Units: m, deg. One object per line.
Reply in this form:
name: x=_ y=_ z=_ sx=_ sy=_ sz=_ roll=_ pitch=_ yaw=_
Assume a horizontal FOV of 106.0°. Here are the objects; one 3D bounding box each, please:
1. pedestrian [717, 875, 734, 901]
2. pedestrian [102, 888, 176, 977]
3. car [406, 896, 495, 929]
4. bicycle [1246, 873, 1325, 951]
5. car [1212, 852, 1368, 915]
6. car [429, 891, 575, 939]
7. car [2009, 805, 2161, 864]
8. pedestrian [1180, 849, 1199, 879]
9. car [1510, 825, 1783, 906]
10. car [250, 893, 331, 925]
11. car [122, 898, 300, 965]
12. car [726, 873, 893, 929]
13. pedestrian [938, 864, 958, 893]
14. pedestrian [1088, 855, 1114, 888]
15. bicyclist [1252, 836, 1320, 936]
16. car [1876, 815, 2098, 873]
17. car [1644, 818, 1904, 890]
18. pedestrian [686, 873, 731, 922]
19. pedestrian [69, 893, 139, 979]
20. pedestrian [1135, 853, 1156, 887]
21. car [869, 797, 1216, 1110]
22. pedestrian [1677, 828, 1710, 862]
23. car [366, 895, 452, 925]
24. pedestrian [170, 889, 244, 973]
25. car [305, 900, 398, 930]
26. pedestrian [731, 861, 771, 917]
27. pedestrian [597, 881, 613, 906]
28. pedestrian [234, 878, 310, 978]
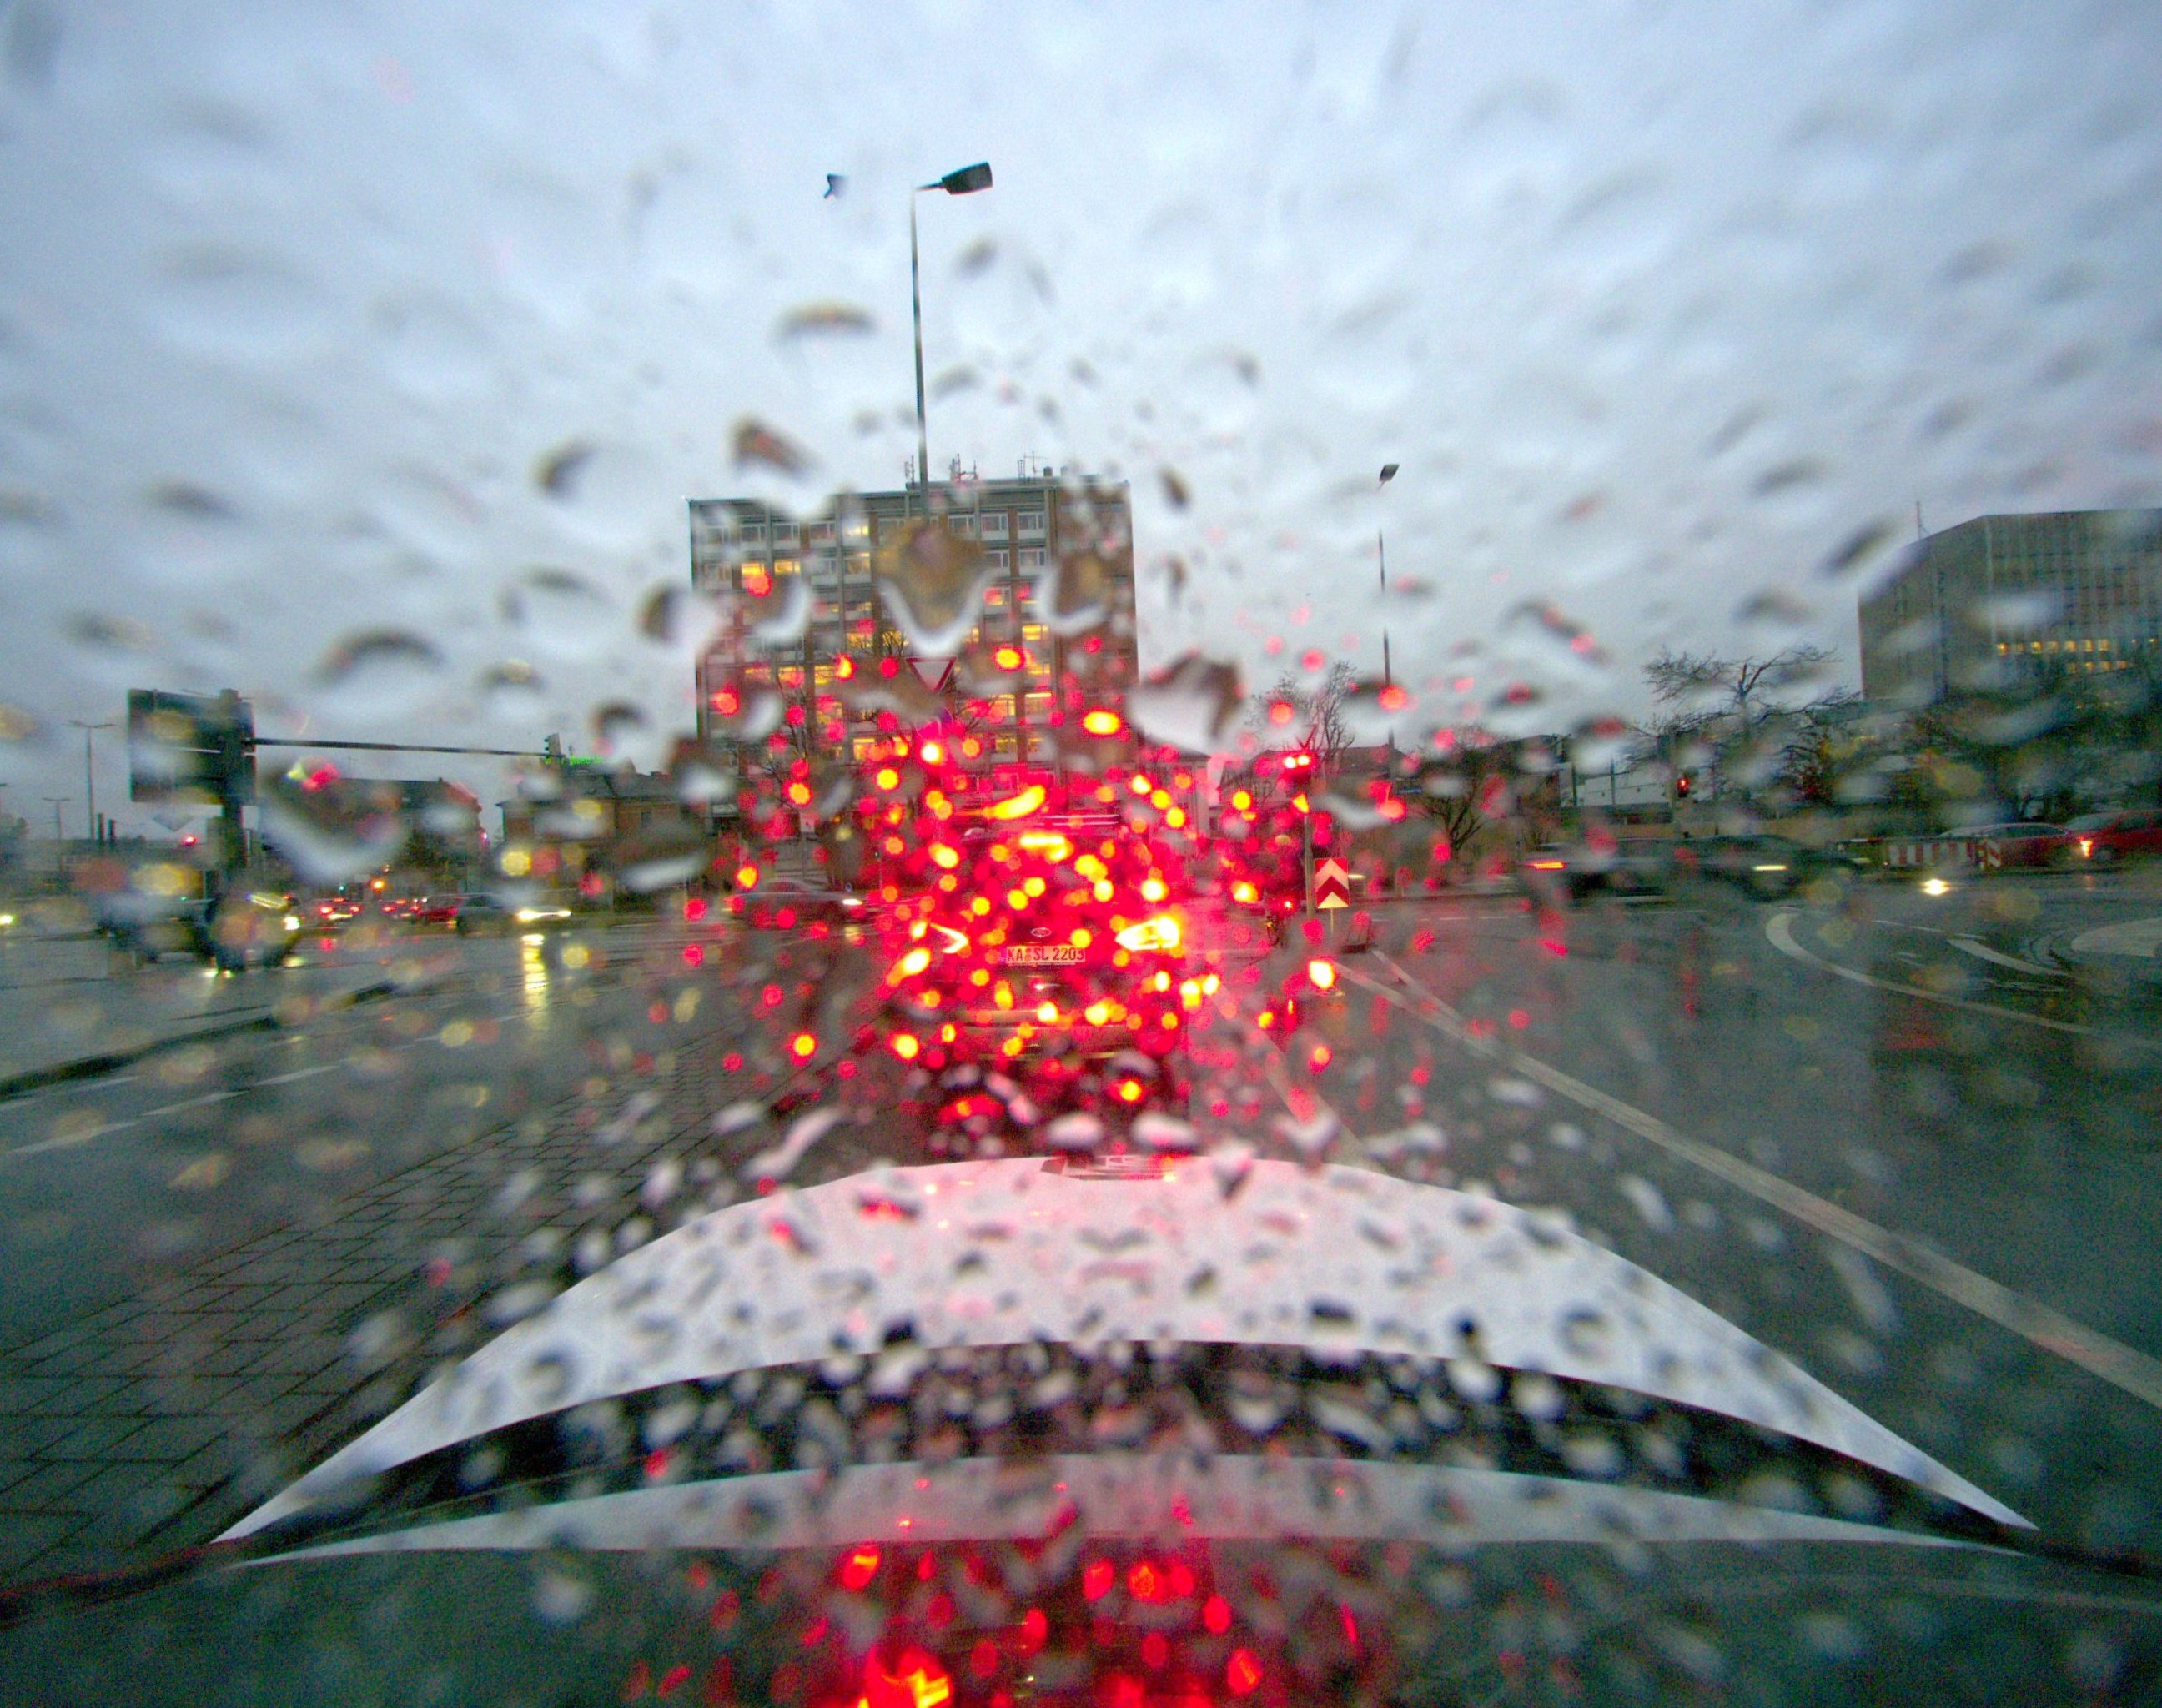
pedestrian: x=-23.352 y=2.217 z=53.519 sx=0.754 sy=1.628 sz=0.560 roll=-3 pitch=0 yaw=16
pedestrian: x=-20.740 y=1.710 z=17.947 sx=0.732 sy=1.838 sz=0.675 roll=-3 pitch=0 yaw=-6
car: x=-33.329 y=3.059 z=43.072 sx=3.954 sy=1.568 sz=1.836 roll=-1 pitch=-1 yaw=20
bicycle: x=3.111 y=0.850 z=12.590 sx=0.780 sy=1.075 sz=1.958 roll=0 pitch=-1 yaw=2
car: x=5.608 y=0.795 z=22.341 sx=3.932 sy=1.477 sz=1.815 roll=-3 pitch=-1 yaw=8
car: x=-20.892 y=2.192 z=29.407 sx=4.619 sy=1.477 sz=1.819 roll=-3 pitch=-1 yaw=18
car: x=36.869 y=-0.722 z=28.840 sx=5.295 sy=1.880 sz=2.051 roll=-3 pitch=-1 yaw=4
pedestrian: x=5.794 y=0.518 z=43.488 sx=0.920 sy=1.533 sz=1.045 roll=-3 pitch=0 yaw=6
car: x=12.244 y=0.260 z=17.941 sx=4.548 sy=1.477 sz=1.817 roll=-3 pitch=-1 yaw=11
car: x=-51.159 y=3.537 z=52.768 sx=1.649 sy=1.826 sz=3.609 roll=-1 pitch=-1 yaw=39
car: x=-24.329 y=2.163 z=22.802 sx=3.955 sy=1.577 sz=1.783 roll=-3 pitch=0 yaw=17
car: x=-8.473 y=1.450 z=25.475 sx=4.623 sy=1.477 sz=1.818 roll=-3 pitch=-1 yaw=14
pedestrian: x=-7.712 y=1.430 z=47.192 sx=0.753 sy=1.628 sz=0.725 roll=-3 pitch=0 yaw=22
pedestrian: x=1.112 y=0.943 z=44.645 sx=1.127 sy=1.720 sz=0.984 roll=-3 pitch=0 yaw=12
bicyclist: x=3.112 y=0.468 z=12.466 sx=0.780 sy=1.453 sz=1.134 roll=0 pitch=-1 yaw=2
car: x=27.527 y=-0.267 z=24.888 sx=4.390 sy=1.477 sz=1.814 roll=-3 pitch=-1 yaw=6
car: x=16.961 y=0.026 z=20.174 sx=4.547 sy=1.477 sz=1.817 roll=-3 pitch=-1 yaw=11
pedestrian: x=-15.121 y=1.763 z=33.096 sx=0.992 sy=1.842 sz=1.146 roll=-3 pitch=2 yaw=29
pedestrian: x=-21.433 y=1.782 z=17.871 sx=0.740 sy=1.770 sz=0.547 roll=-3 pitch=0 yaw=-7
pedestrian: x=3.591 y=0.904 z=45.280 sx=0.990 sy=1.799 sz=0.922 roll=-3 pitch=0 yaw=10
car: x=-0.164 y=0.589 z=6.683 sx=1.986 sy=1.789 sz=4.001 roll=0 pitch=-1 yaw=2
pedestrian: x=30.087 y=-0.425 z=40.022 sx=0.956 sy=1.603 sz=0.796 roll=-3 pitch=0 yaw=9
car: x=-38.403 y=3.180 z=46.615 sx=1.496 sy=1.461 sz=3.453 roll=-1 pitch=-1 yaw=31
pedestrian: x=-19.570 y=1.709 z=18.243 sx=0.653 sy=1.755 sz=0.856 roll=-3 pitch=0 yaw=18
car: x=-43.696 y=3.625 z=48.840 sx=1.582 sy=1.482 sz=3.840 roll=-1 pitch=-1 yaw=31
pedestrian: x=-12.099 y=1.265 z=29.882 sx=0.922 sy=1.978 sz=0.962 roll=-3 pitch=0 yaw=8
pedestrian: x=-33.373 y=2.736 z=57.104 sx=0.634 sy=1.688 sz=0.640 roll=-3 pitch=0 yaw=18
pedestrian: x=-17.319 y=1.553 z=17.460 sx=0.996 sy=2.021 sz=0.792 roll=-3 pitch=0 yaw=-39
